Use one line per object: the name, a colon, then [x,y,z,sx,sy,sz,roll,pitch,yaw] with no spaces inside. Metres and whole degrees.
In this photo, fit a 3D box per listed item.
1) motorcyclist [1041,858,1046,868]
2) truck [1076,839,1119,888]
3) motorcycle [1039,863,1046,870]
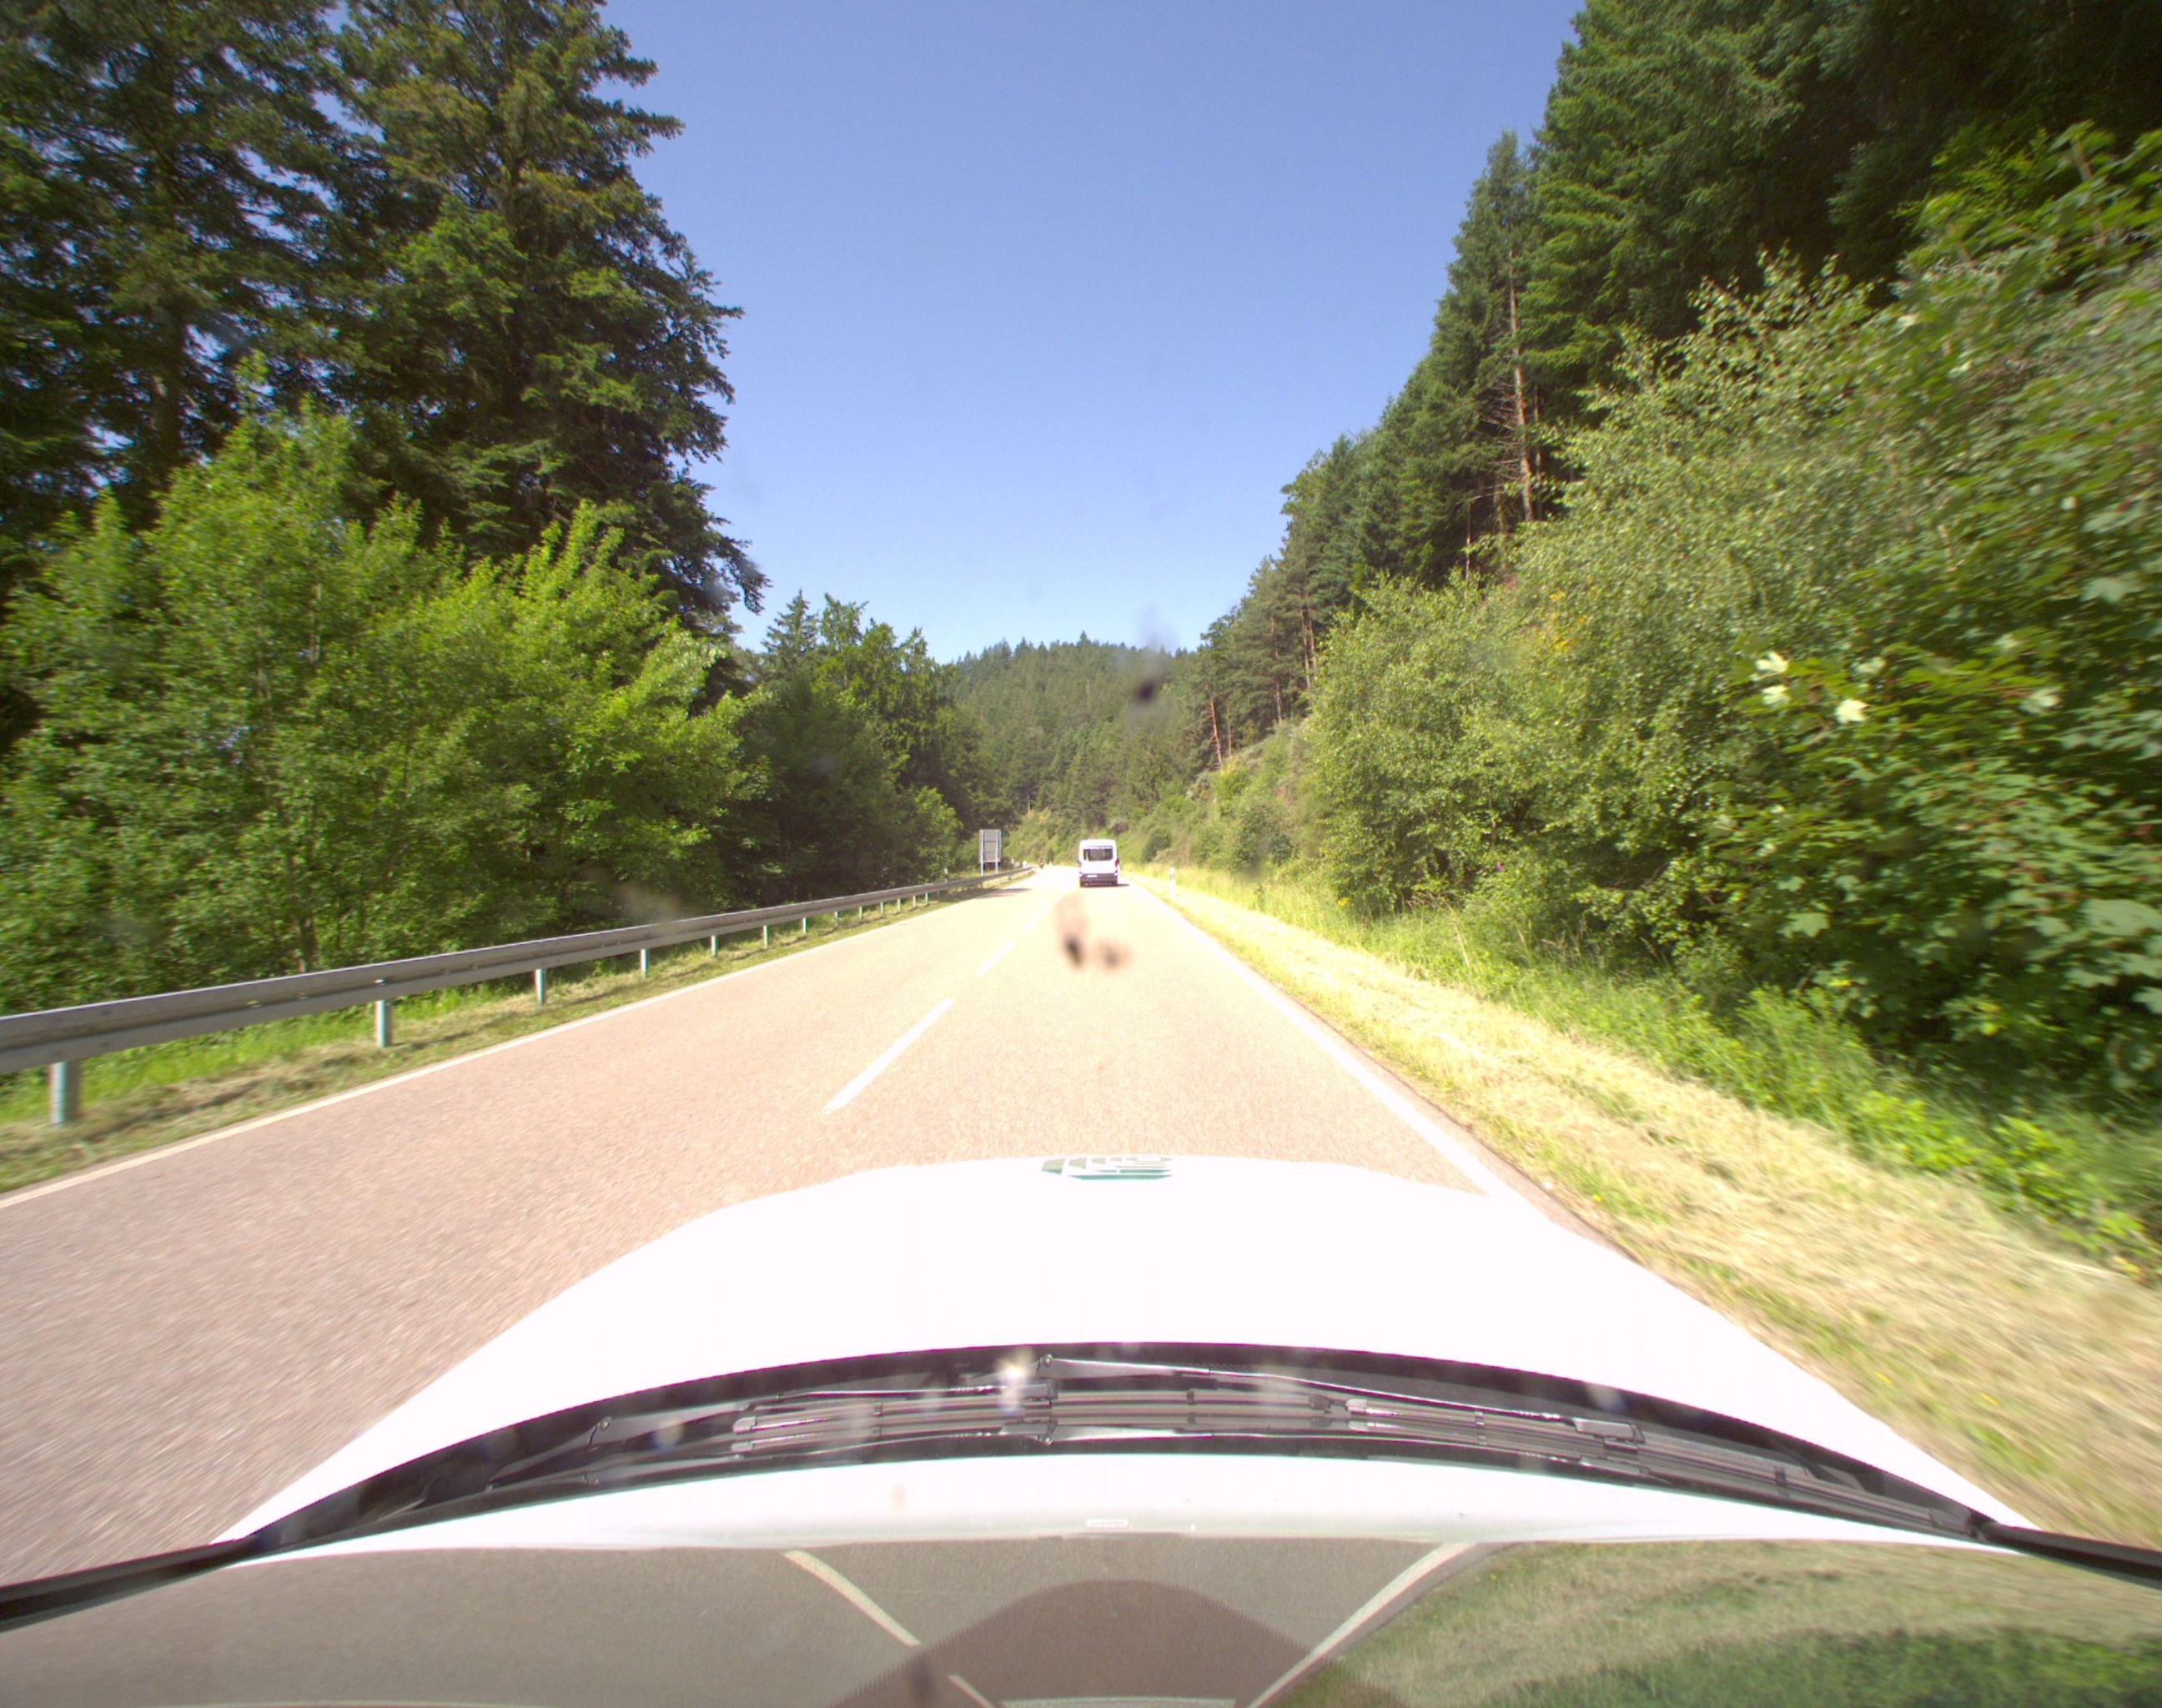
motorcyclist: [-5.865,1.344,126.661,0.656,1.513,0.934,-2,0,0]
truck: [0.843,0.501,44.126,2.078,2.460,4.872,-1,0,-1]
motorcycle: [-5.927,1.876,126.696,0.981,1.071,1.962,-1,0,0]
